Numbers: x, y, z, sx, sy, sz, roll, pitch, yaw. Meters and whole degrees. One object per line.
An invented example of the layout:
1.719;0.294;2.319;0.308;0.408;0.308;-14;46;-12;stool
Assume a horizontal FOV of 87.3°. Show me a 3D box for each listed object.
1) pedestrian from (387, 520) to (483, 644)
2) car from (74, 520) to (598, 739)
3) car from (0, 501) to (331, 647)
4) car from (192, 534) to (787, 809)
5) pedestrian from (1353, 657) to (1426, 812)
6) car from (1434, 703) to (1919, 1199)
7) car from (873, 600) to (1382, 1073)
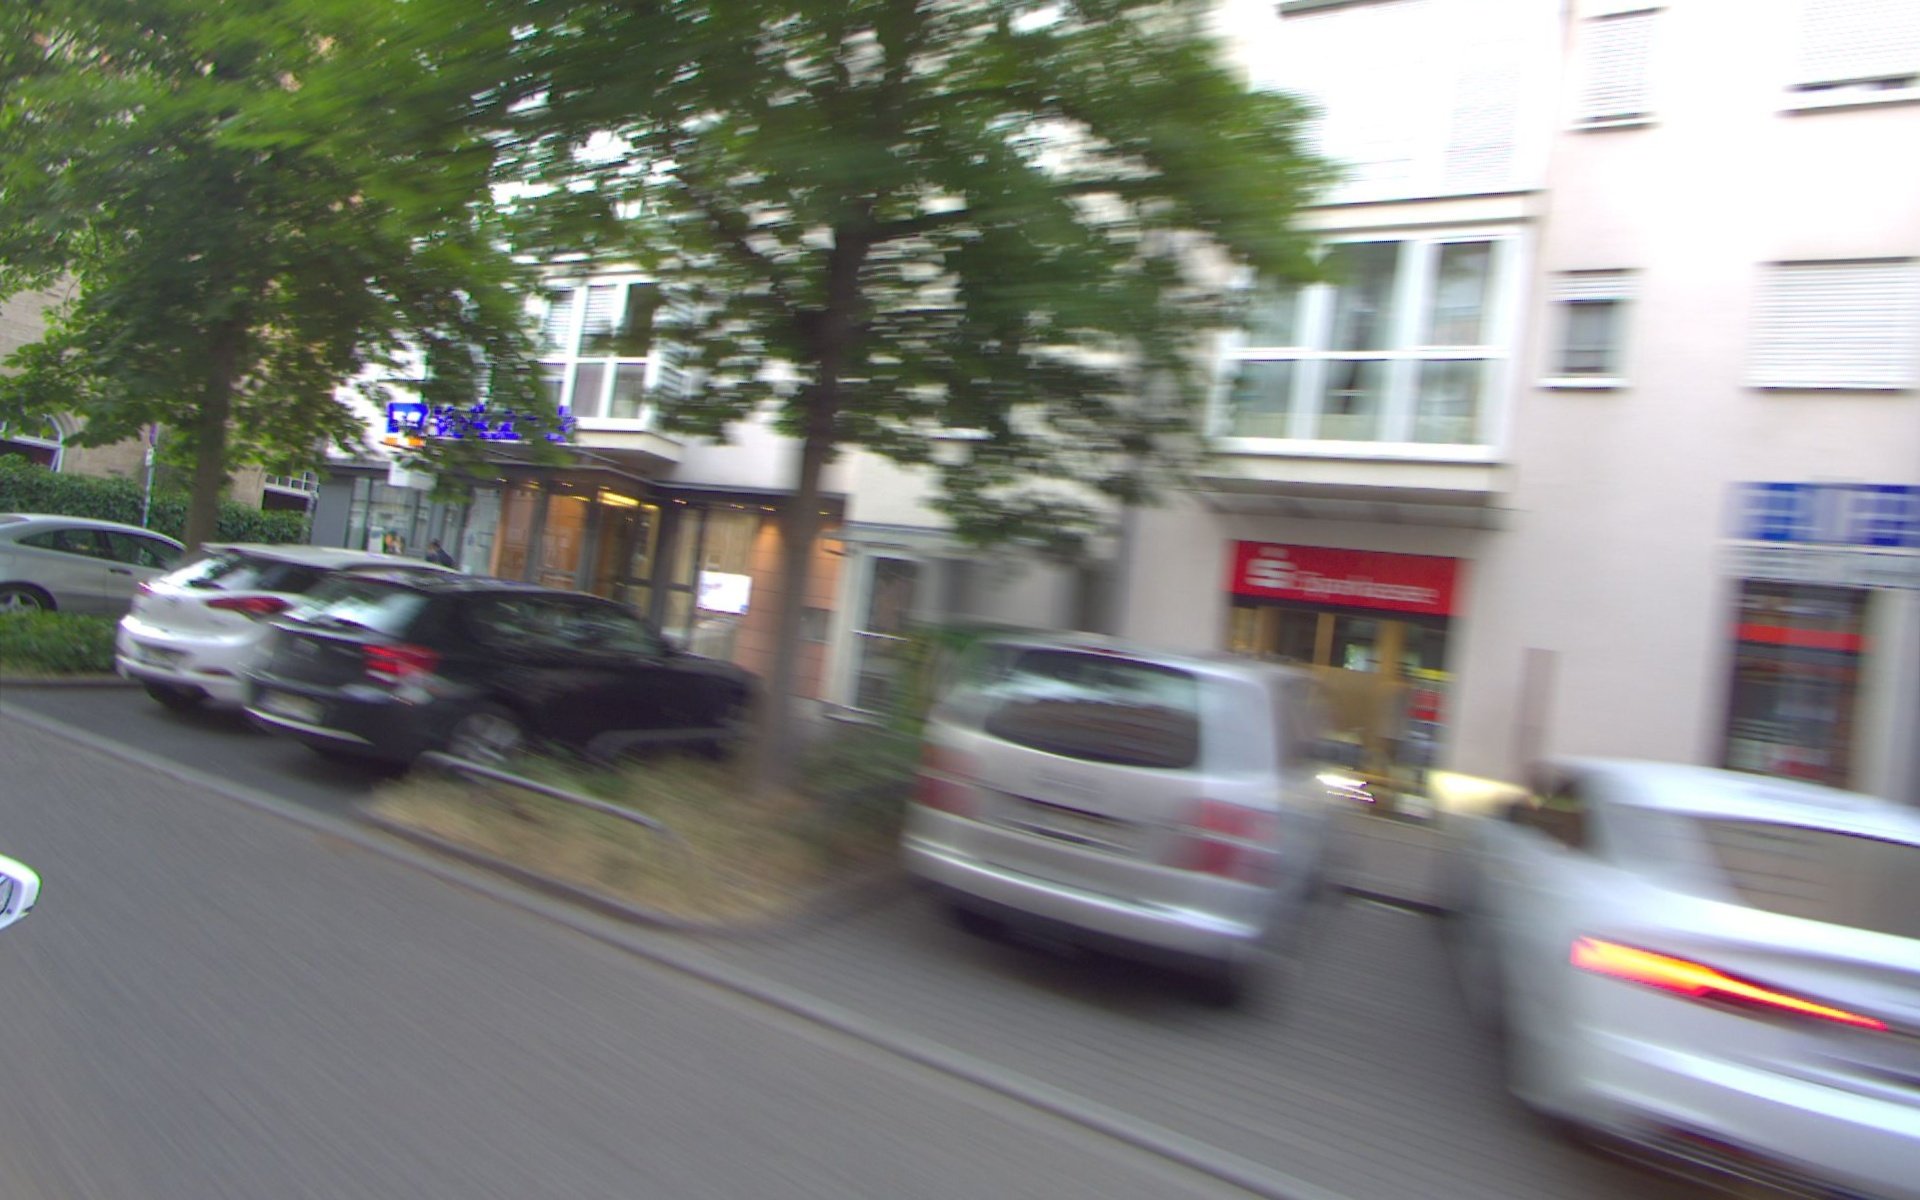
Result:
-7.986;-0.268;15.317;0.946;1.737;0.729;7;0;28;pedestrian
-5.507;0.289;9.465;1.704;1.470;3.804;7;0;23;car
-10.570;-0.320;12.596;1.850;1.470;4.093;7;0;30;car
-3.373;0.545;8.104;1.795;1.473;3.998;7;-1;25;car
5.255;1.629;12.286;0.578;1.772;0.627;6;-3;31;pedestrian
3.432;1.421;4.707;1.747;1.473;4.437;7;-1;22;car
1.441;1.080;6.276;1.716;1.667;4.409;7;-1;27;car
